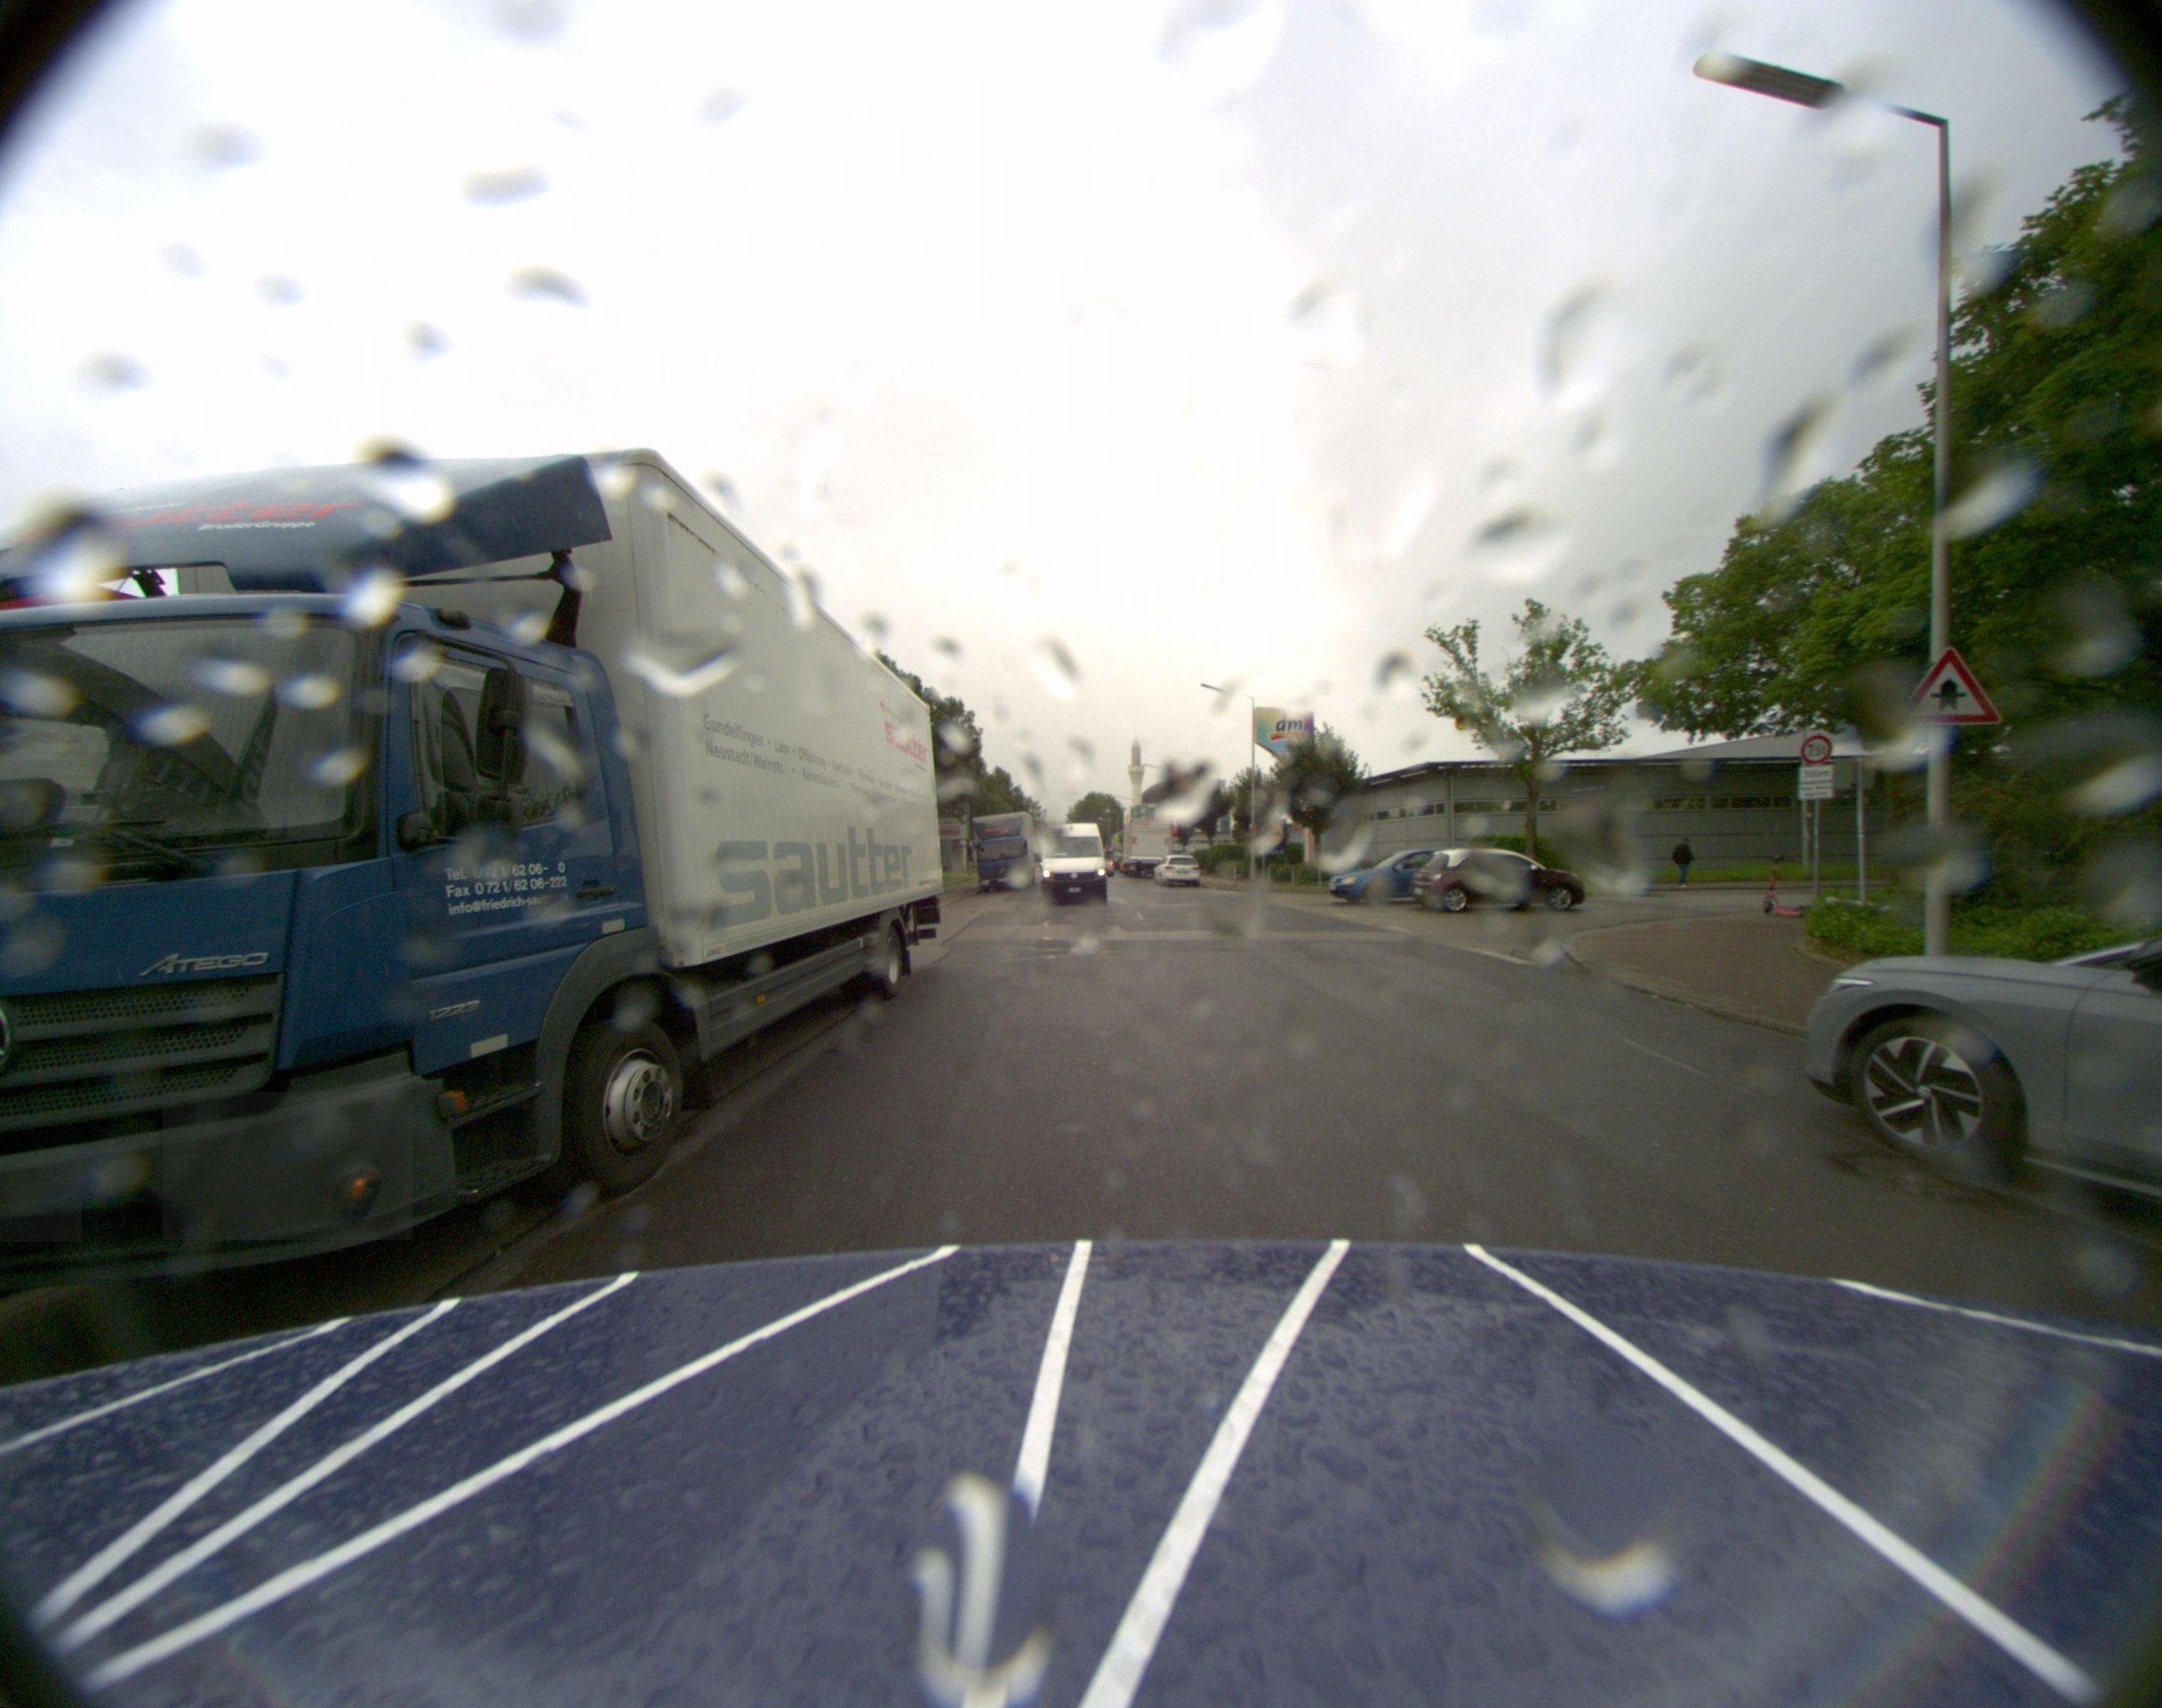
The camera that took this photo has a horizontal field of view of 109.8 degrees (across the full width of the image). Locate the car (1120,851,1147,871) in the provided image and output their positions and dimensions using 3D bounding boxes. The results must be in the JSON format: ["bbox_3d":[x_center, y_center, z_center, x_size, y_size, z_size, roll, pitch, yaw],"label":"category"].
[{"bbox_3d":[4.109,0.533,59.878,1.692,1.457,3.512,-1,0,-2],"label":"car"}]

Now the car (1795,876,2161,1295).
[{"bbox_3d":[5.012,0.948,1.916,1.814,1.519,4.746,3,1,-1],"label":"car"}]

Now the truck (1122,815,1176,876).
[{"bbox_3d":[4.431,-0.556,51.084,2.889,3.724,7.866,-1,0,0],"label":"truck"}]

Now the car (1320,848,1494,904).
[{"bbox_3d":[8.769,0.576,20.667,3.997,1.432,1.736,0,0,-1],"label":"car"}]

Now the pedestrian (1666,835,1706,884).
[{"bbox_3d":[20.956,0.194,26.349,0.782,1.664,0.758,-1,1,-3],"label":"pedestrian"}]

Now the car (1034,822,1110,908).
[{"bbox_3d":[-0.154,0.298,24.832,2.084,2.466,5.347,-1,0,3],"label":"car"}]

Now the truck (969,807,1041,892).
[{"bbox_3d":[-3.653,-0.236,38.546,2.678,3.671,8.008,-4,0,0],"label":"truck"}]

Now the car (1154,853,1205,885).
[{"bbox_3d":[4.685,0.679,36.767,1.840,1.426,4.491,0,0,0],"label":"car"}]

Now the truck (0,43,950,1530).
[{"bbox_3d":[-3.432,-0.115,6.598,2.748,3.767,9.298,-4,0,0],"label":"truck"}]

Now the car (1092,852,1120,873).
[{"bbox_3d":[1.712,0.586,52.964,1.735,1.432,3.999,0,0,-2],"label":"car"}]

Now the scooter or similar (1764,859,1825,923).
[{"bbox_3d":[13.679,0.695,14.586,0.284,1.169,1.060,-1,1,7],"label":"scooter or similar"}]

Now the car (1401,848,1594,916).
[{"bbox_3d":[9.615,0.621,17.767,3.574,1.447,1.638,-2,1,4],"label":"car"}]

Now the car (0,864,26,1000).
[{"bbox_3d":[-13.590,0.904,7.144,1.868,1.518,4.008,0,1,45],"label":"car"}]
